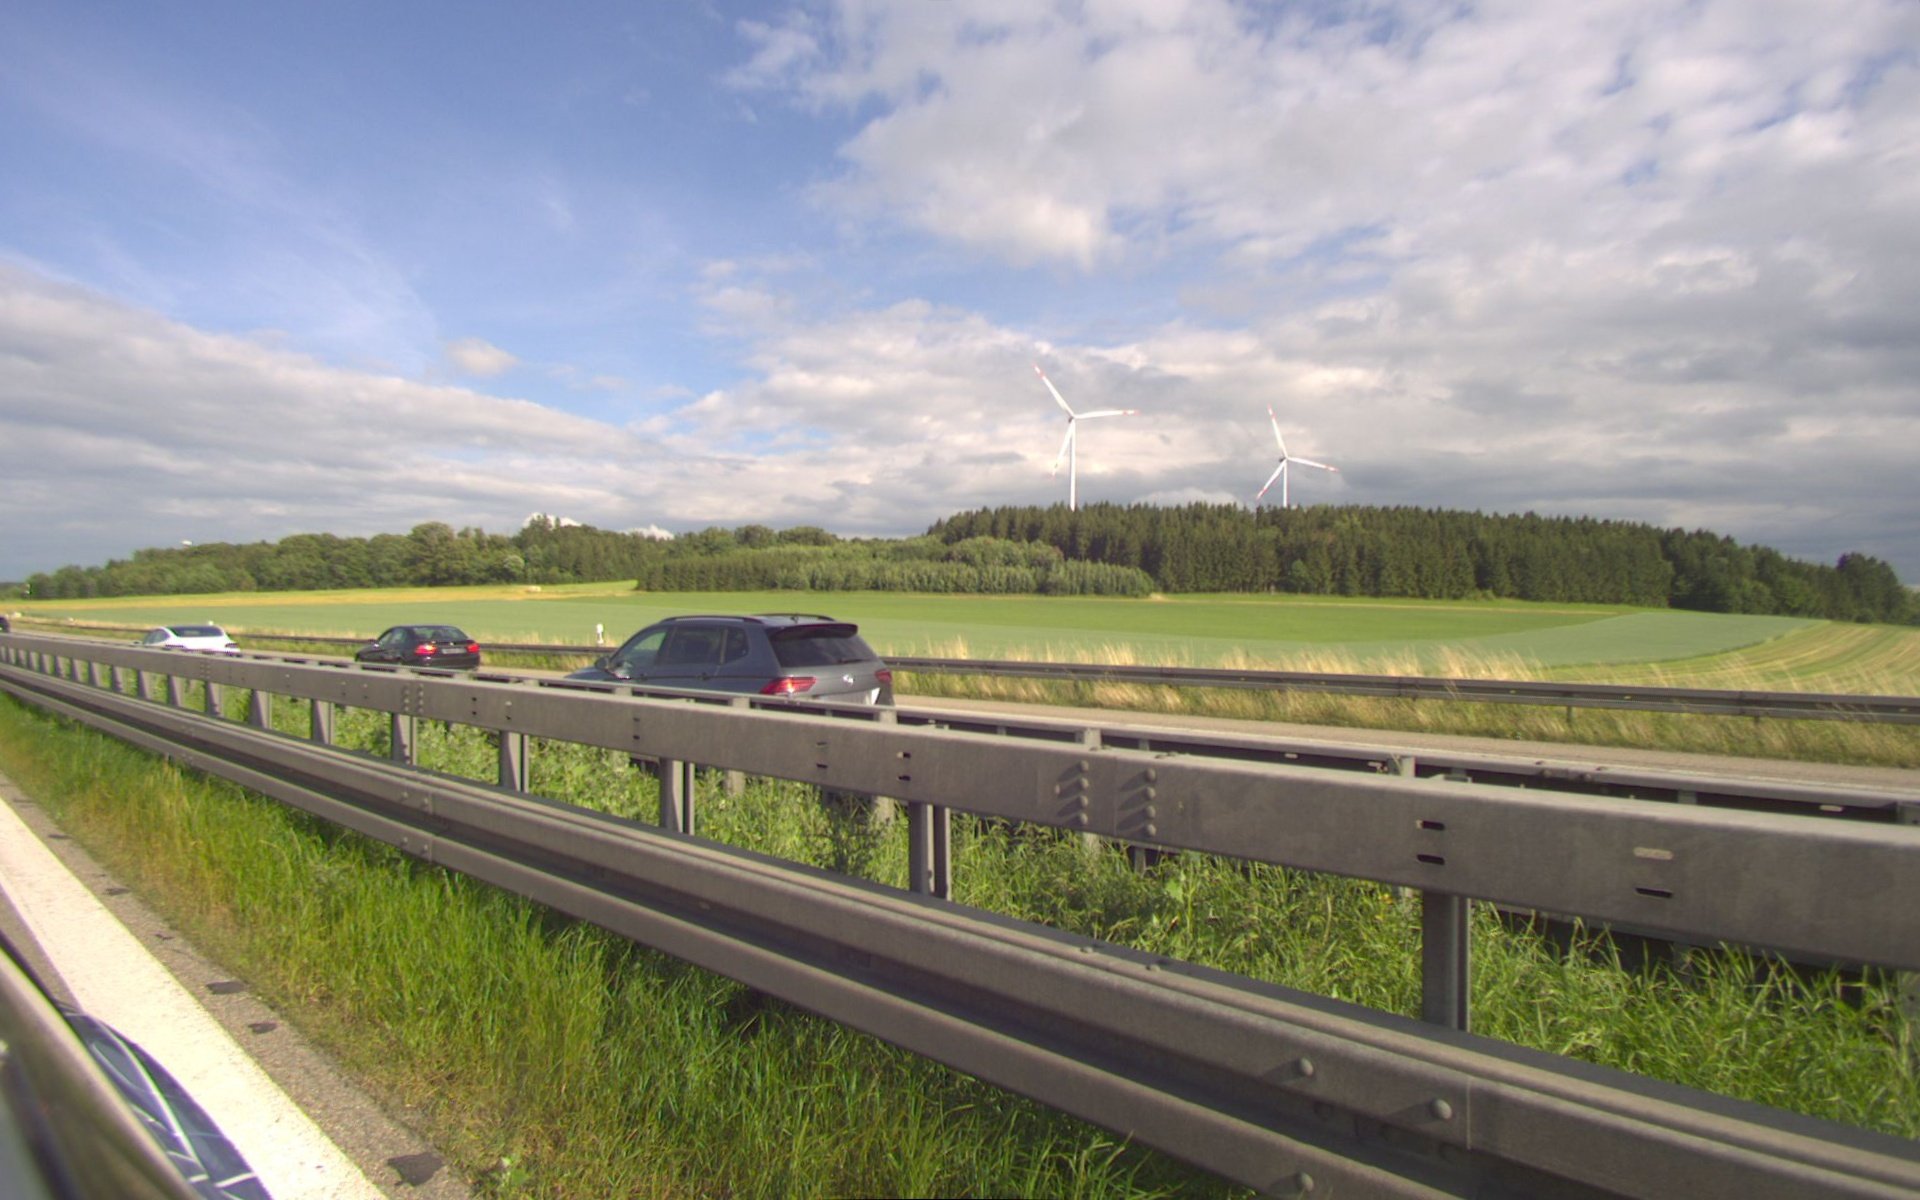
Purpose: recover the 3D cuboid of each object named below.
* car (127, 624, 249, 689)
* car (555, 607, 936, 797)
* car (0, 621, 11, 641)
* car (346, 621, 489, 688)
[{"bbox_3d":[-20.862,1.445,27.271,4.477,1.532,1.732,0,0,41],"label":"car"},{"bbox_3d":[-2.413,0.888,10.730,4.263,1.615,1.732,0,0,41],"label":"car"},{"bbox_3d":[-80.388,2.572,84.276,3.997,1.532,1.599,0,0,41],"label":"car"},{"bbox_3d":[-13.923,1.331,25.853,4.477,1.490,1.732,0,0,41],"label":"car"}]
